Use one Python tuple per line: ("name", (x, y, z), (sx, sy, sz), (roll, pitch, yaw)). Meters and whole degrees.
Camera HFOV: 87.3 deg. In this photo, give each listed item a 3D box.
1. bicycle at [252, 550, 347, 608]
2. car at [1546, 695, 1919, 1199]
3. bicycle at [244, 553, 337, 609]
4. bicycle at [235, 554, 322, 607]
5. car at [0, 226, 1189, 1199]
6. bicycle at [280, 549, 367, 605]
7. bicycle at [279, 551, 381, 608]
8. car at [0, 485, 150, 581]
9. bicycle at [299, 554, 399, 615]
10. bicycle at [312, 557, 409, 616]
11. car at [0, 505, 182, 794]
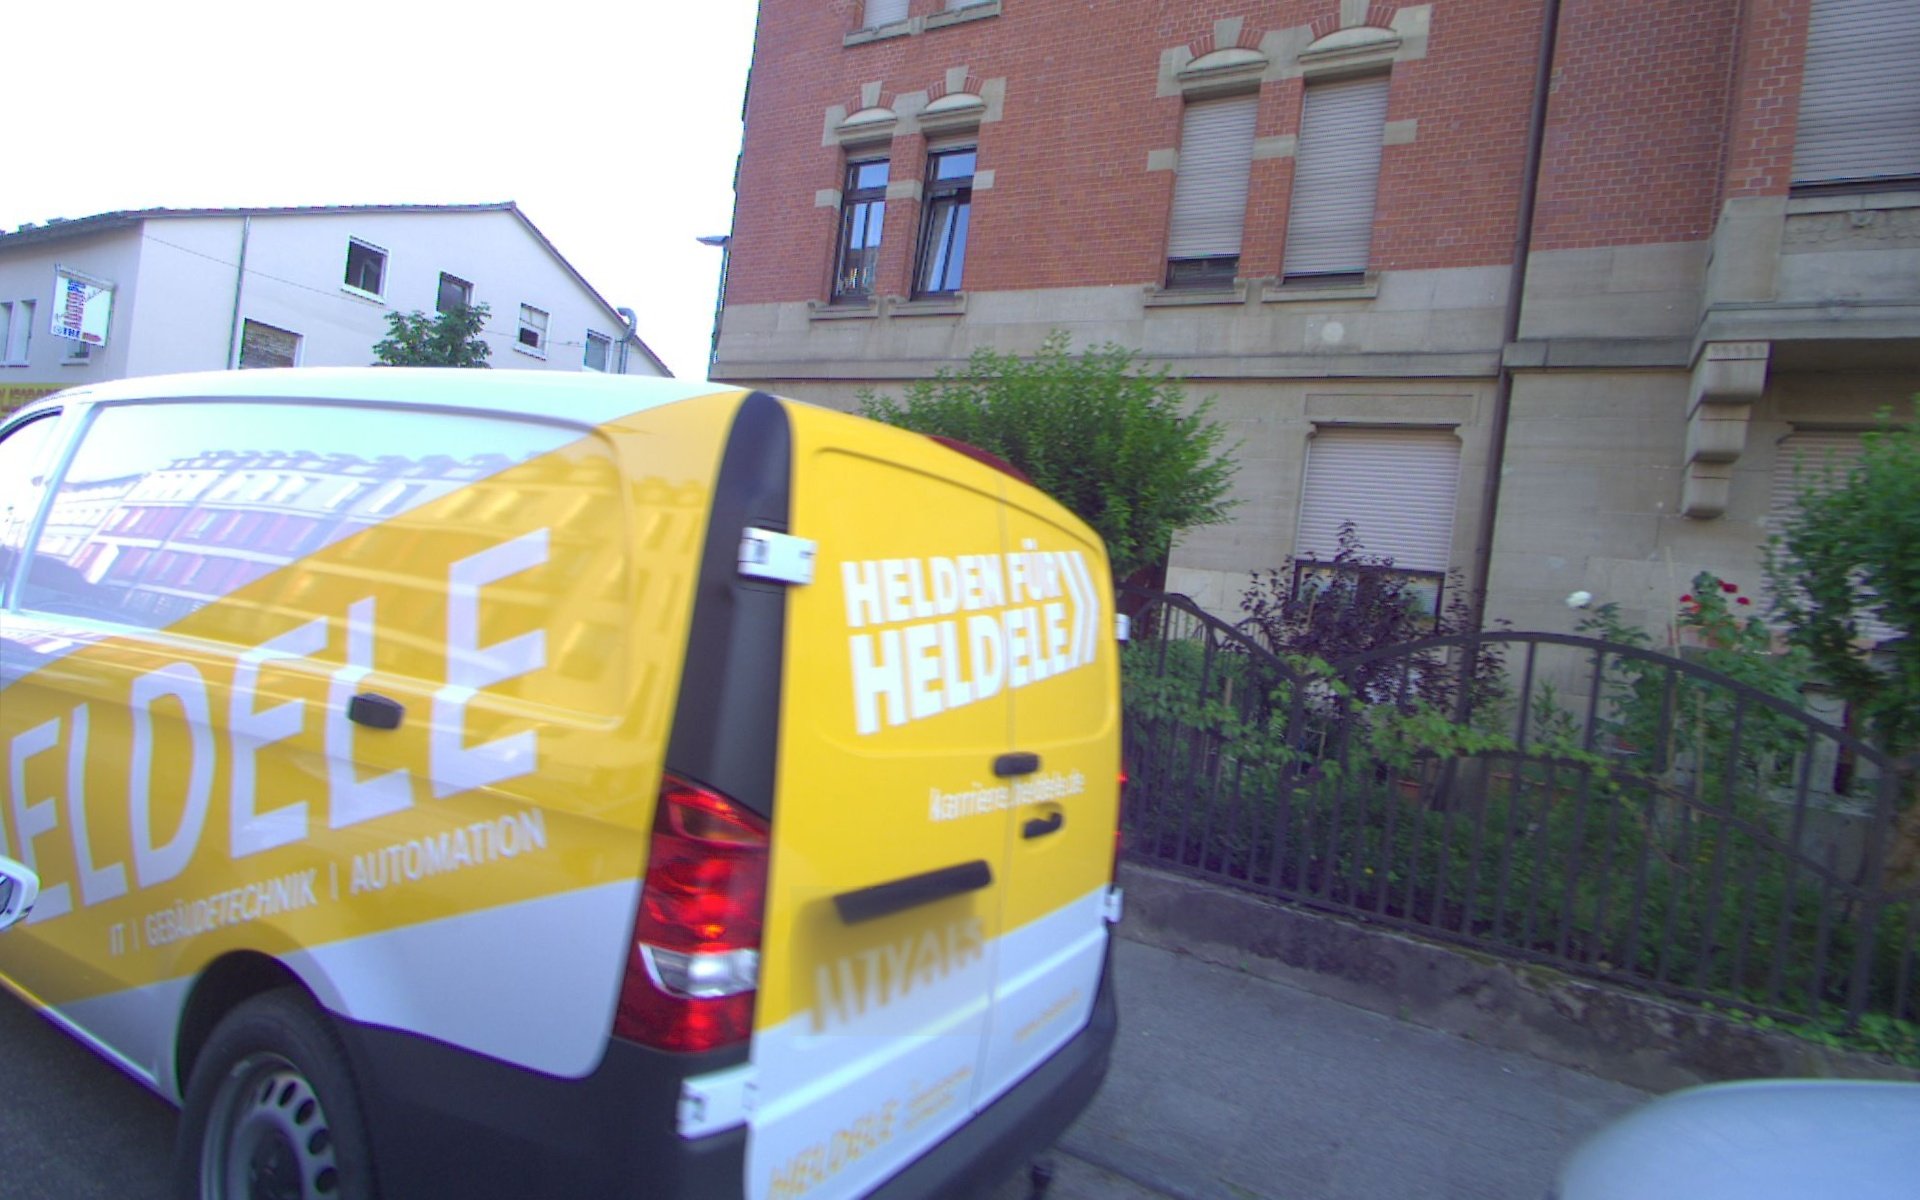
("bicycle", (-16.192, -0.503, 24.720), (0.338, 1.162, 1.864), (10, 0, 31))
("car", (2.569, 1.100, 0.612), (3.798, 1.494, 1.677), (7, -1, 33))
("bicycle", (-15.769, -0.433, 23.746), (0.337, 1.082, 1.735), (10, 0, 29))
("bicycle", (-16.119, -0.437, 23.833), (0.337, 1.031, 1.606), (10, 0, 29))
("car", (-2.077, 0.325, 3.261), (4.995, 1.906, 1.897), (7, -1, 30))
("bicycle", (-14.663, -0.510, 23.221), (0.338, 1.053, 1.606), (10, 0, 31))
("bicycle", (-14.282, -0.446, 22.852), (0.421, 1.022, 1.854), (10, -1, 31))
("car", (-18.325, -1.387, 19.196), (1.726, 1.533, 4.055), (9, 1, 31))
("bicycle", (-13.698, -0.331, 22.619), (0.420, 1.141, 1.925), (8, -1, 22))
("bicycle", (-13.317, -0.276, 22.414), (0.420, 1.087, 1.856), (10, -1, 22))
("car", (-6.693, 0.027, 5.961), (4.181, 1.440, 1.726), (7, -2, 30))
